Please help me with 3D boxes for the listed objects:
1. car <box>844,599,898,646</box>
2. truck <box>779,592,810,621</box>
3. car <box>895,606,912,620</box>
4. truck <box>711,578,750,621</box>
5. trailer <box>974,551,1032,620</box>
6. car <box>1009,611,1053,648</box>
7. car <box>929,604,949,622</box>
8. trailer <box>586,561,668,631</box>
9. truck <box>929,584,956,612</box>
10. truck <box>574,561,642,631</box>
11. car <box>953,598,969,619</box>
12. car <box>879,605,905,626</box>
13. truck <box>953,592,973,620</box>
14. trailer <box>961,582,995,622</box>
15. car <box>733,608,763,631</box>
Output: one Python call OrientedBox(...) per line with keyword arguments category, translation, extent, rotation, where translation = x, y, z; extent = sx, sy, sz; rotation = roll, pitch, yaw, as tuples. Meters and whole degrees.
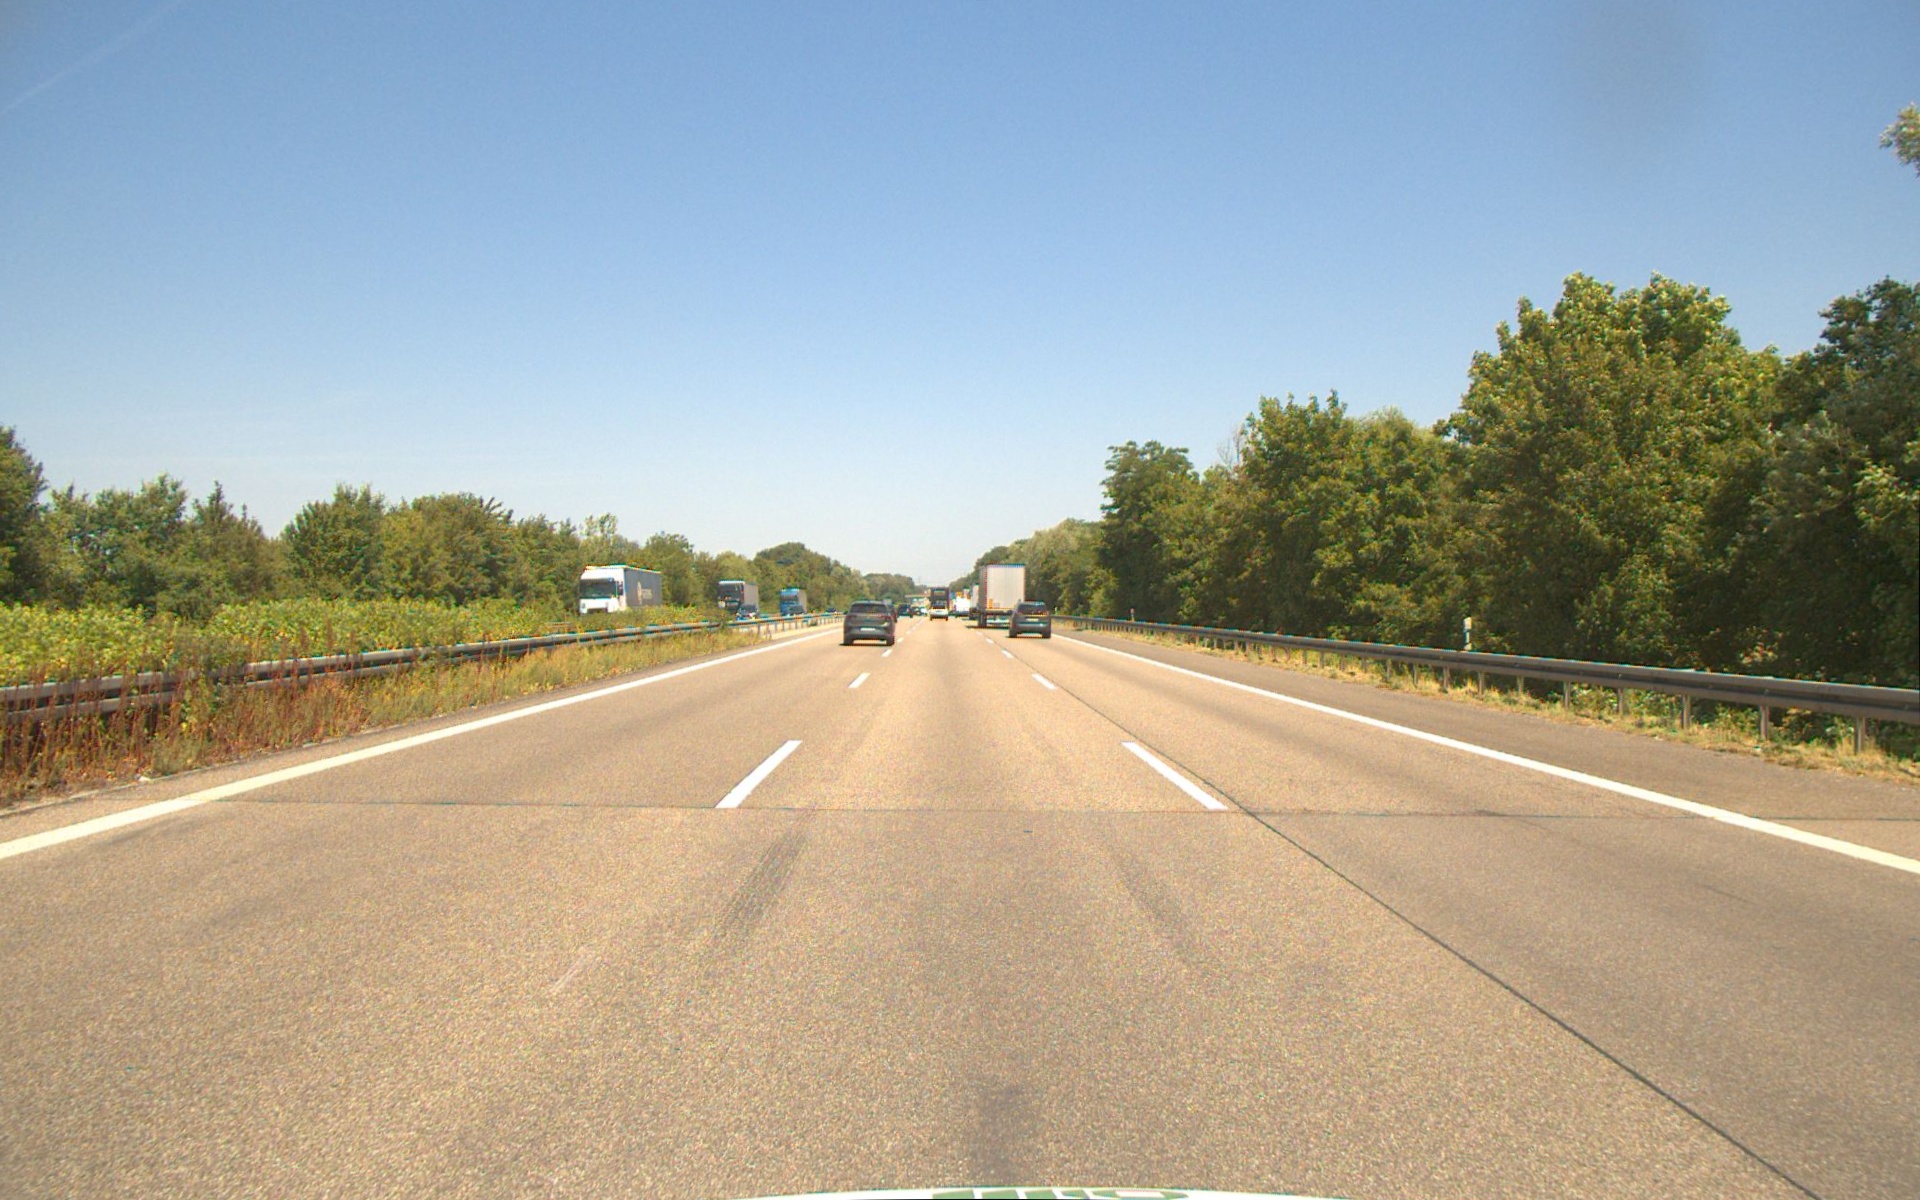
OrientedBox(category="car", translation=(-3.164, 0.764, 59.384), extent=(1.723, 1.557, 4.285), rotation=(1, 0, -1))
OrientedBox(category="truck", translation=(-23.168, 0.846, 231.775), extent=(3.184, 4.056, 8.729), rotation=(0, 0, 2))
OrientedBox(category="car", translation=(-6.675, 1.593, 196.624), extent=(1.869, 1.557, 4.285), rotation=(1, 0, -1))
OrientedBox(category="truck", translation=(-22.939, -0.048, 165.556), extent=(3.132, 4.202, 6.193), rotation=(0, 0, -1))
OrientedBox(category="trailer", translation=(2.730, -0.833, 110.233), extent=(3.364, 4.254, 13.630), rotation=(1, -1, 0))
OrientedBox(category="car", translation=(3.255, 1.330, 76.357), extent=(1.807, 1.657, 4.134), rotation=(0, 0, 0))
OrientedBox(category="car", translation=(-2.041, 1.219, 158.105), extent=(1.862, 1.557, 4.083), rotation=(1, 0, -1))
OrientedBox(category="trailer", translation=(-22.222, -0.201, 111.202), extent=(2.860, 4.259, 13.538), rotation=(-2, 0, -1))
OrientedBox(category="truck", translation=(-2.391, -0.297, 230.031), extent=(3.592, 3.791, 7.108), rotation=(1, 0, 0))
OrientedBox(category="truck", translation=(-22.109, -0.219, 104.191), extent=(2.857, 4.201, 6.192), rotation=(-2, -1, -1))
OrientedBox(category="car", translation=(0.100, 1.034, 206.603), extent=(1.869, 2.467, 4.285), rotation=(1, 0, -1))
OrientedBox(category="car", translation=(-5.359, 1.185, 130.961), extent=(1.862, 1.557, 4.083), rotation=(1, 0, -1))
OrientedBox(category="truck", translation=(0.407, 0.818, 236.135), extent=(2.735, 3.791, 7.108), rotation=(1, 0, 0))
OrientedBox(category="trailer", translation=(1.808, 0.157, 171.300), extent=(3.059, 3.995, 9.933), rotation=(1, 0, -2))
OrientedBox(category="car", translation=(-18.787, 1.698, 147.005), extent=(2.184, 2.023, 5.354), rotation=(0, 0, -3))
